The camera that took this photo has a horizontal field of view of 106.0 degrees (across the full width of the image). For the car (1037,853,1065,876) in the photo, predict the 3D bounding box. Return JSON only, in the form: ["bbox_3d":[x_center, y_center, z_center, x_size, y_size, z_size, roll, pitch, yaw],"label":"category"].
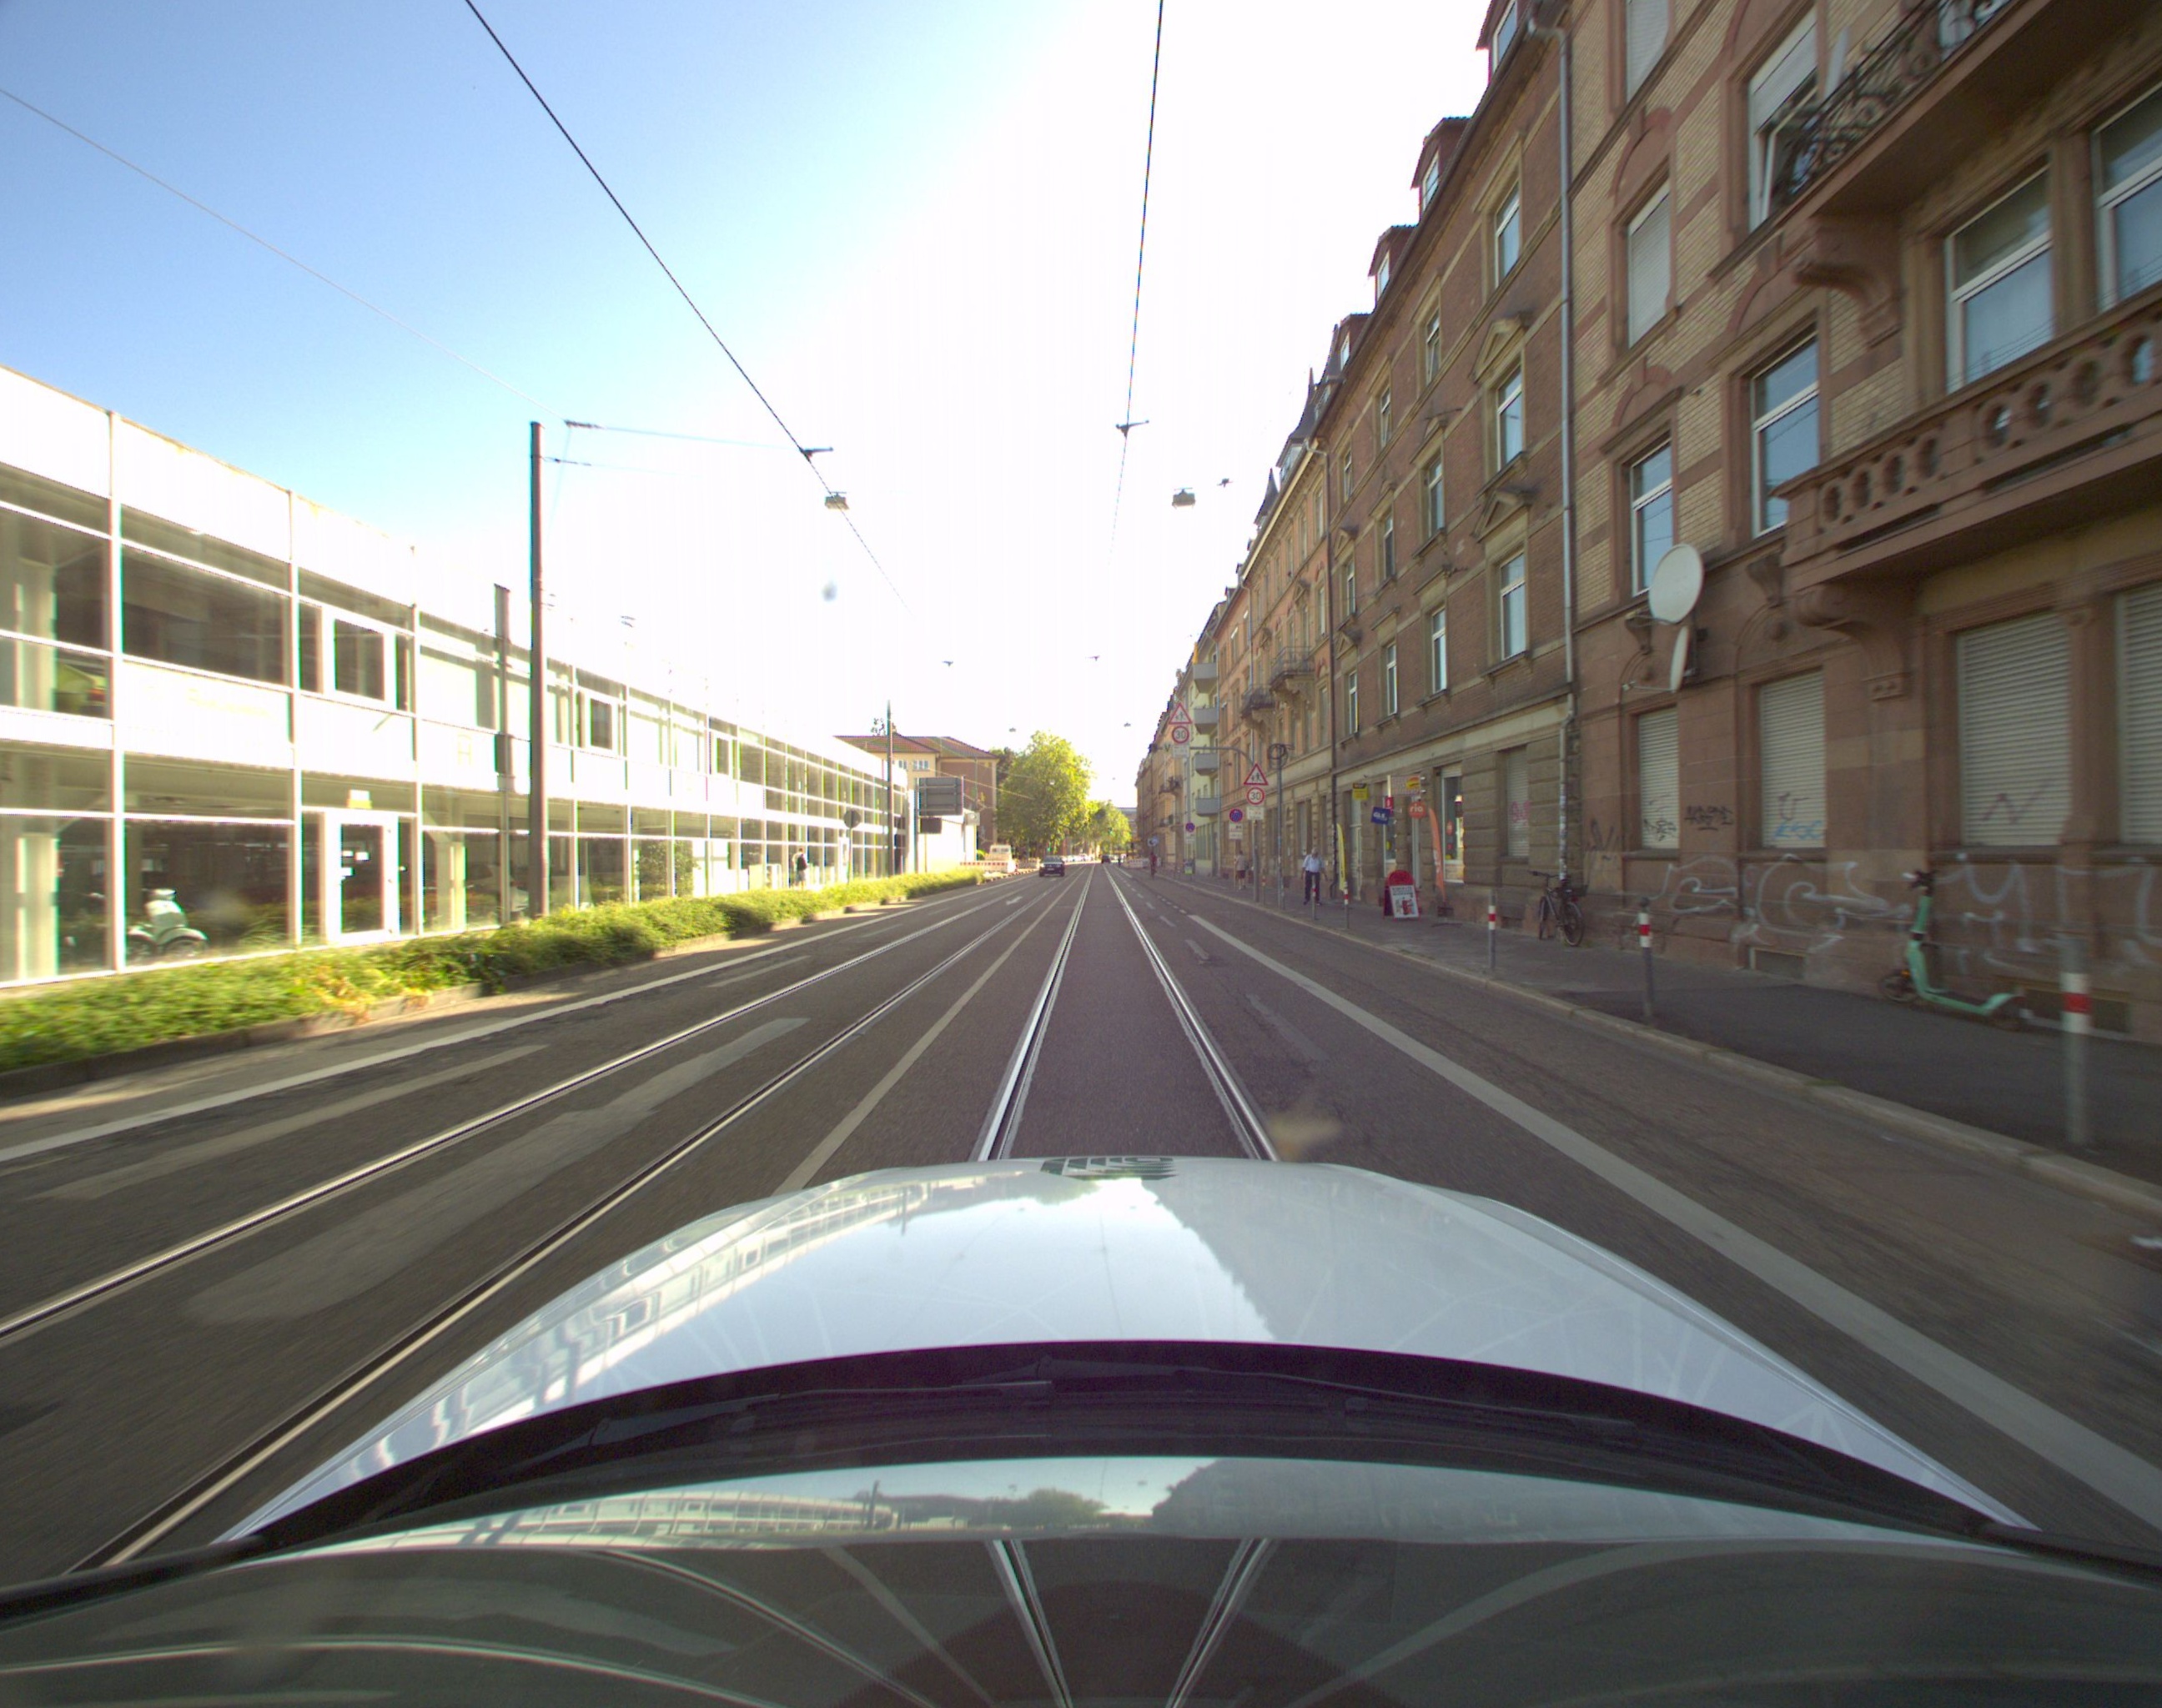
[{"bbox_3d":[-2.235,0.809,62.084,1.752,1.697,4.146,1,-1,2],"label":"car"}]

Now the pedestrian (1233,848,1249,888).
[{"bbox_3d":[6.981,0.623,35.470,0.550,1.701,0.474,-3,-1,5],"label":"pedestrian"}]

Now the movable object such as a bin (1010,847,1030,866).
[{"bbox_3d":[-8.527,0.377,114.884,2.488,2.645,5.985,1,0,-1],"label":"movable object such as a bin"}]

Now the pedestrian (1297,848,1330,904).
[{"bbox_3d":[6.793,0.642,23.820,0.795,1.605,0.653,-1,-1,3],"label":"pedestrian"}]

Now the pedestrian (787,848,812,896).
[{"bbox_3d":[-10.637,0.667,30.849,0.525,1.765,1.051,1,-1,1],"label":"pedestrian"}]

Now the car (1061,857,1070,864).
[{"bbox_3d":[-3.471,1.441,187.613,1.741,1.495,4.047,1,-1,4],"label":"car"}]

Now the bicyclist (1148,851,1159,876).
[{"bbox_3d":[5.060,0.686,56.721,0.665,1.697,1.043,1,-1,1],"label":"bicyclist"}]

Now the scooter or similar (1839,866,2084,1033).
[{"bbox_3d":[7.174,0.714,6.739,0.405,1.211,1.481,-2,-1,2],"label":"scooter or similar"}]

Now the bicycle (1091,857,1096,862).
[{"bbox_3d":[3.654,1.629,238.474,1.227,1.572,2.904,1,-1,8],"label":"bicycle"}]

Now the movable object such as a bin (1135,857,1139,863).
[{"bbox_3d":[9.819,1.086,143.697,0.671,1.036,0.814,-1,0,1],"label":"movable object such as a bin"}]

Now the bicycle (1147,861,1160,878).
[{"bbox_3d":[5.046,1.057,56.878,0.678,1.114,2.707,1,0,1],"label":"bicycle"}]

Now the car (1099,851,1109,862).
[{"bbox_3d":[4.608,0.553,161.652,1.986,2.014,4.001,1,-1,2],"label":"car"}]

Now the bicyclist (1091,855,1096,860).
[{"bbox_3d":[3.646,0.953,238.454,1.071,1.428,1.149,1,-1,9],"label":"bicyclist"}]

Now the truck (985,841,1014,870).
[{"bbox_3d":[-8.354,0.172,83.755,2.532,2.830,6.370,1,-1,-2],"label":"truck"}]

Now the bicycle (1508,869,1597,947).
[{"bbox_3d":[7.388,0.801,12.842,0.408,1.121,1.900,-2,-1,5],"label":"bicycle"}]
